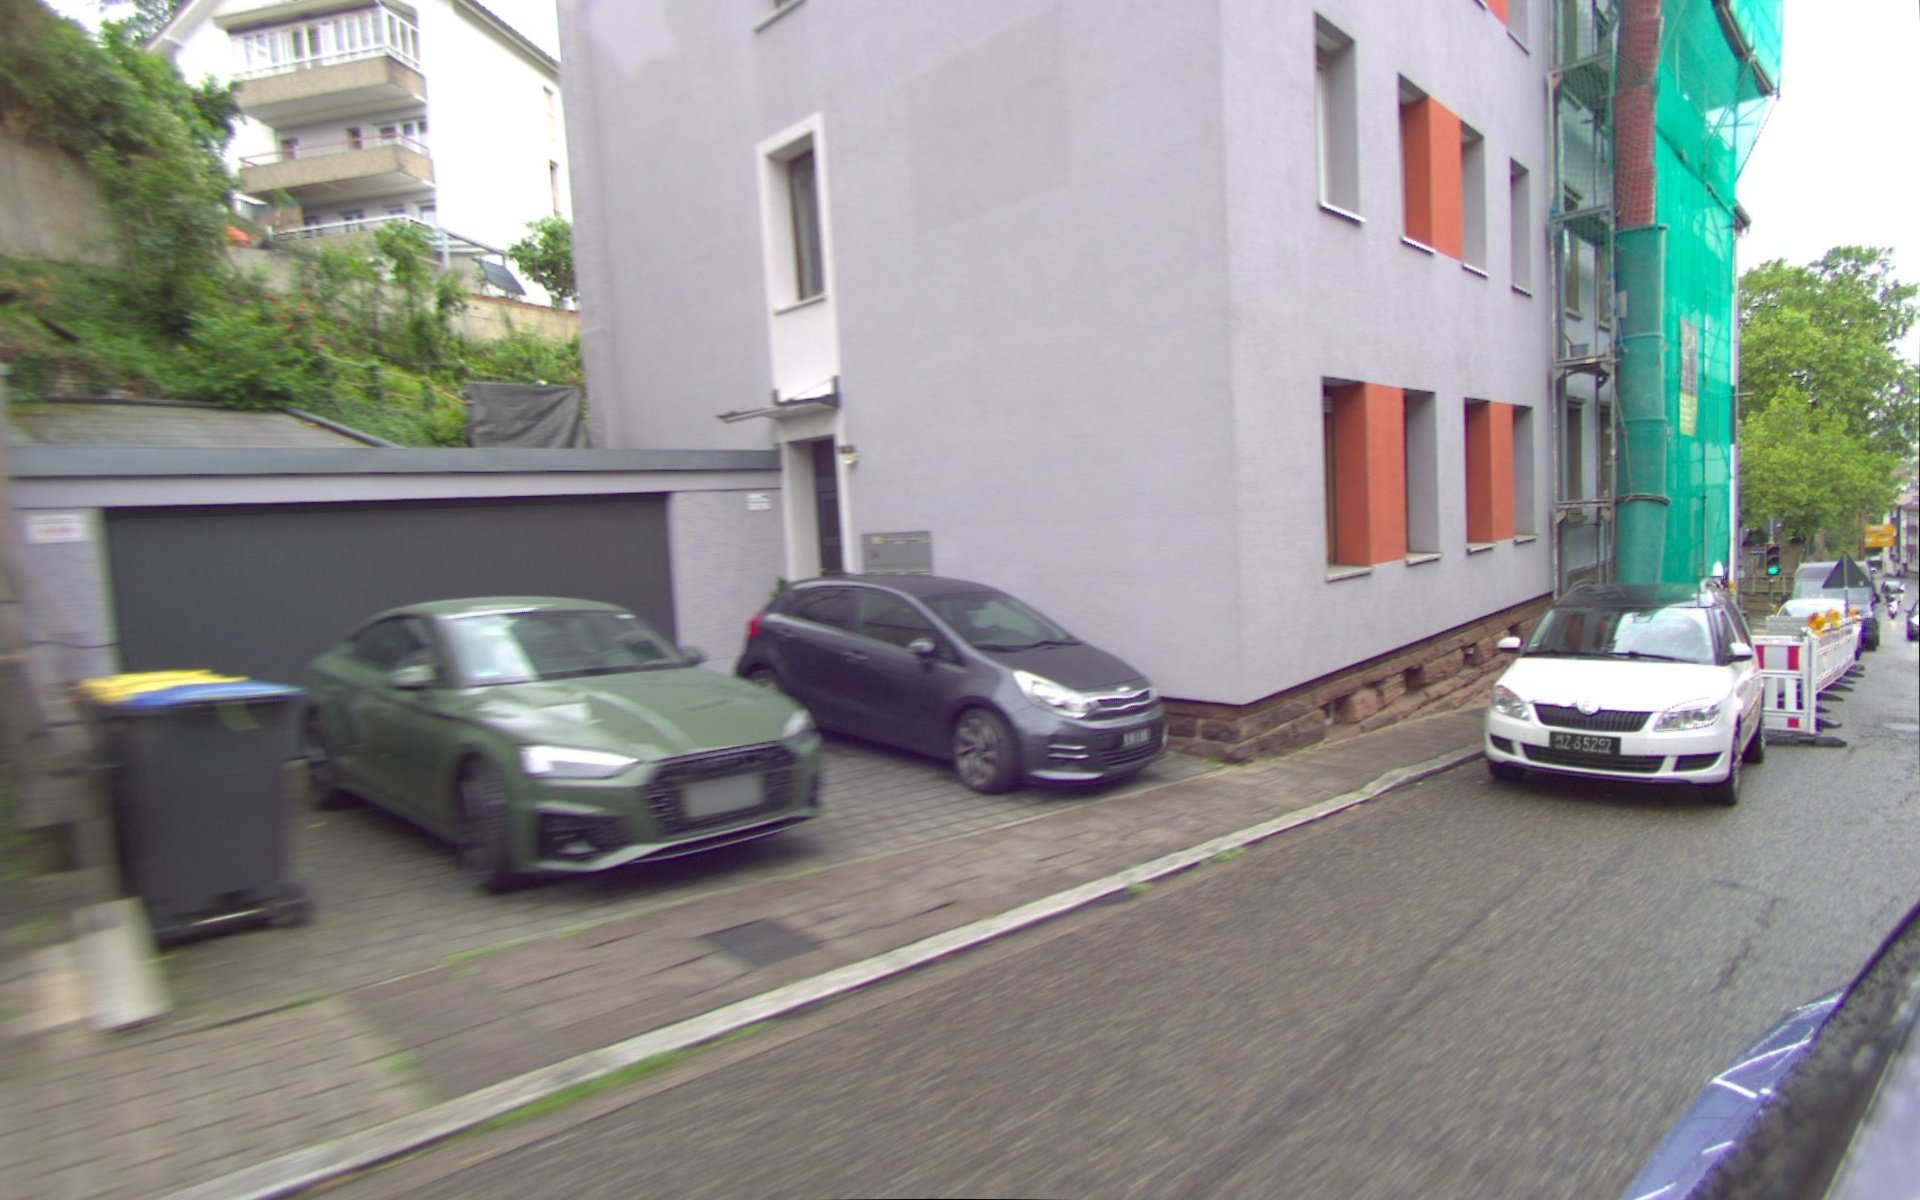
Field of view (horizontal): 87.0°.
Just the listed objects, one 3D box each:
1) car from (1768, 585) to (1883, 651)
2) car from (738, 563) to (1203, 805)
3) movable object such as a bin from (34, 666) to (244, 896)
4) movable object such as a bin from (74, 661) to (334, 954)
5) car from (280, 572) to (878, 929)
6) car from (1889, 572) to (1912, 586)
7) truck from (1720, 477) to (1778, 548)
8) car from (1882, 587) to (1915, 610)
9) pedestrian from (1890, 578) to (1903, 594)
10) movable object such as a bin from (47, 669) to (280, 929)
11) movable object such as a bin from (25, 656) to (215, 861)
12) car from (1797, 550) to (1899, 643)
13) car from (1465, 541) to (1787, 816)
[{"bbox_3d":[22.470,0.431,26.219,1.993,1.531,4.269,-2,0,44],"label":"car"},{"bbox_3d":[-0.078,0.498,8.464,3.802,1.569,1.634,2,1,43],"label":"car"},{"bbox_3d":[-4.418,0.915,5.449,0.722,1.033,0.760,-2,1,43],"label":"movable object such as a bin"},{"bbox_3d":[-3.265,0.821,4.376,0.722,1.033,0.760,-2,1,43],"label":"movable object such as a bin"},{"bbox_3d":[-2.629,0.597,6.368,4.267,1.484,1.864,1,1,43],"label":"car"},{"bbox_3d":[113.508,-2.487,122.181,1.629,1.549,3.945,-1,-1,38],"label":"car"},{"bbox_3d":[52.423,-5.969,67.376,2.741,3.342,11.107,2,12,37],"label":"truck"},{"bbox_3d":[66.126,-0.104,71.340,1.632,1.549,3.938,-2,-1,43],"label":"car"},{"bbox_3d":[96.201,-1.413,103.982,0.868,1.561,1.071,-2,-2,41],"label":"pedestrian"},{"bbox_3d":[-3.864,0.900,4.913,0.722,1.033,0.760,-2,1,43],"label":"movable object such as a bin"},{"bbox_3d":[-4.974,0.885,5.996,0.722,1.033,0.760,-2,1,43],"label":"movable object such as a bin"},{"bbox_3d":[26.543,-0.174,30.184,1.993,2.443,5.746,-2,1,44],"label":"car"},{"bbox_3d":[5.794,0.531,8.595,1.639,1.785,3.938,-2,-2,43],"label":"car"}]
